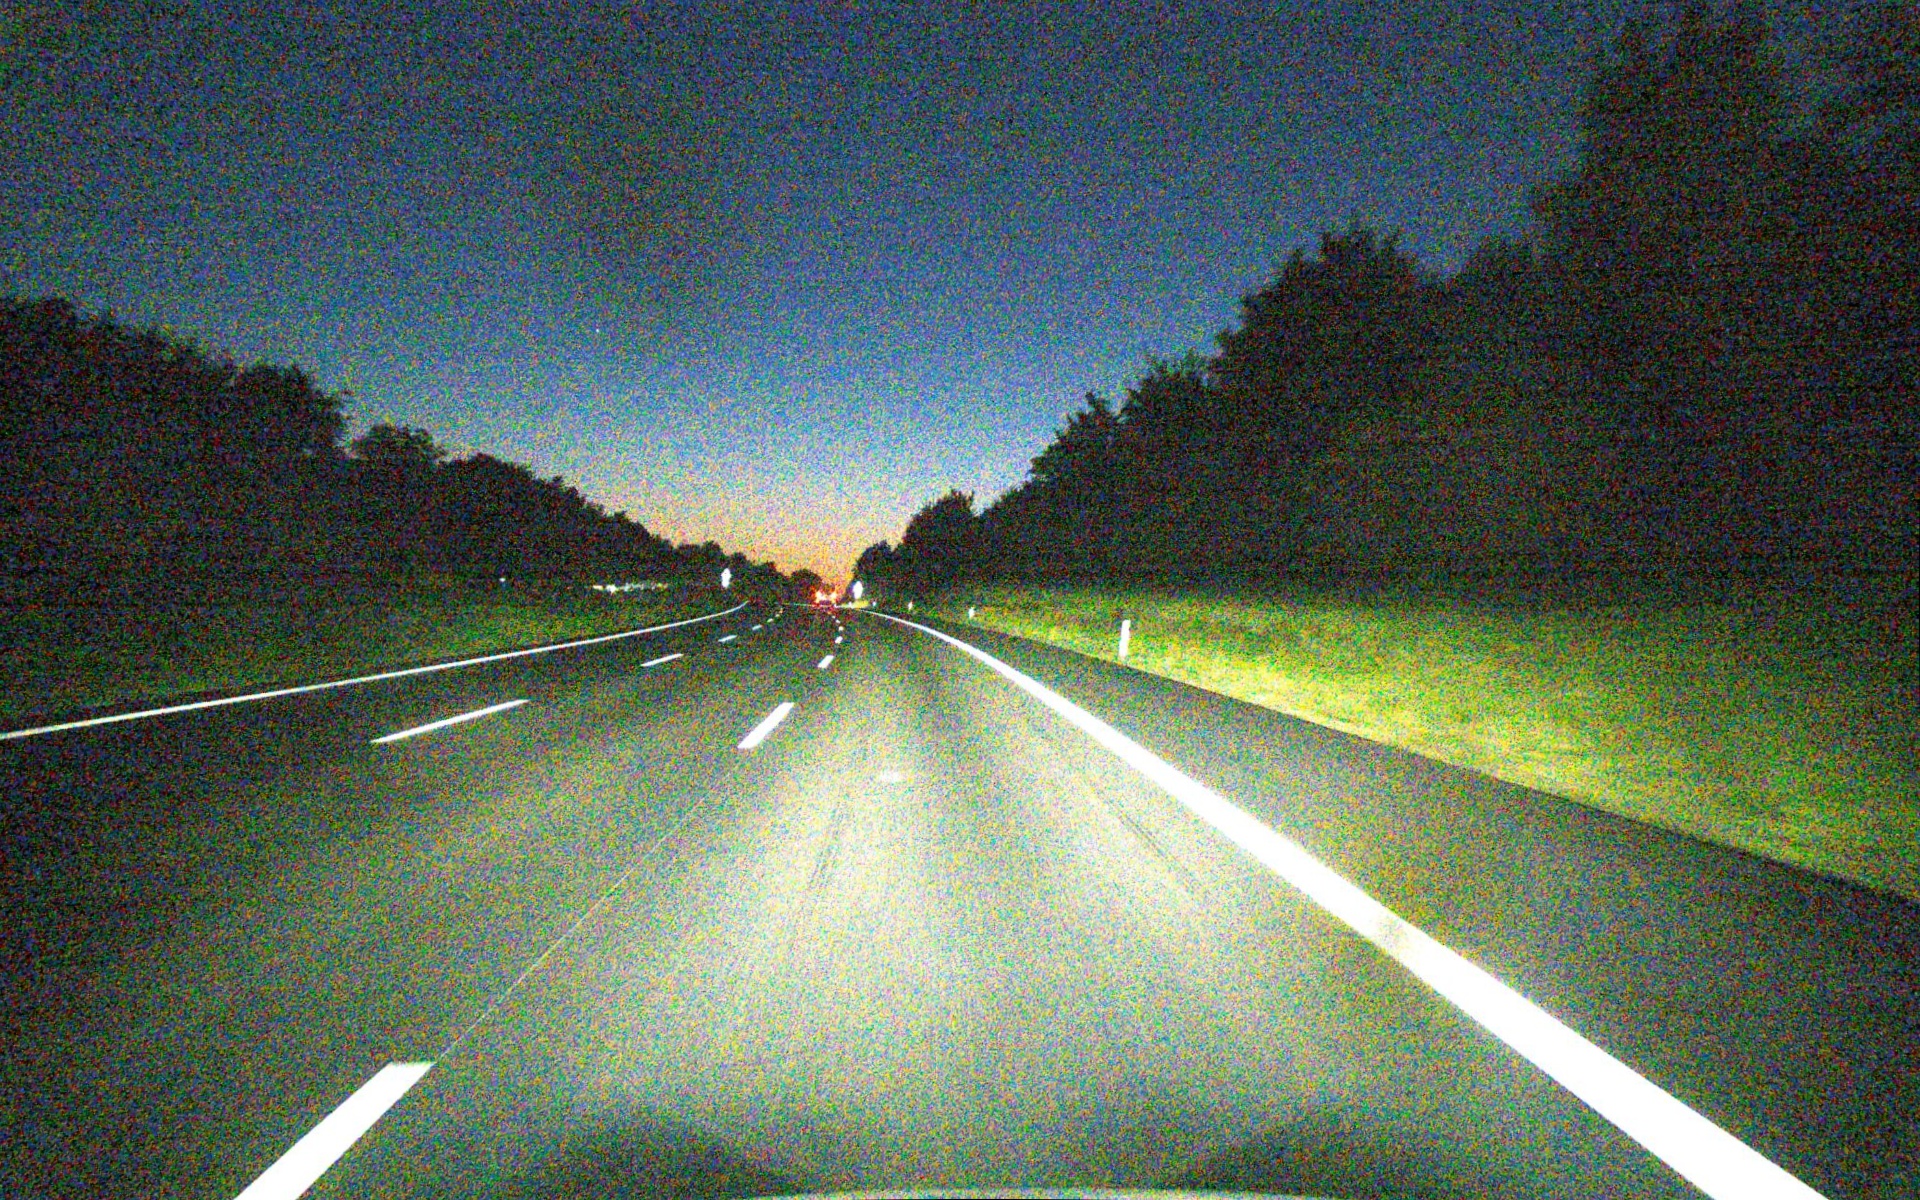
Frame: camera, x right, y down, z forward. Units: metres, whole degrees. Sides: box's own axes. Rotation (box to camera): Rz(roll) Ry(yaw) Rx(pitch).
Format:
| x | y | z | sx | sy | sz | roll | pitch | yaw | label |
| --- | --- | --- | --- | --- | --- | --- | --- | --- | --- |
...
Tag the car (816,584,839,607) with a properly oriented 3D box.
| x | y | z | sx | sy | sz | roll | pitch | yaw | label |
| --- | --- | --- | --- | --- | --- | --- | --- | --- | --- |
| -15.466 | -0.511 | 192.762 | 2.478 | 2.597 | 6.044 | 3 | 0 | -5 | car |
